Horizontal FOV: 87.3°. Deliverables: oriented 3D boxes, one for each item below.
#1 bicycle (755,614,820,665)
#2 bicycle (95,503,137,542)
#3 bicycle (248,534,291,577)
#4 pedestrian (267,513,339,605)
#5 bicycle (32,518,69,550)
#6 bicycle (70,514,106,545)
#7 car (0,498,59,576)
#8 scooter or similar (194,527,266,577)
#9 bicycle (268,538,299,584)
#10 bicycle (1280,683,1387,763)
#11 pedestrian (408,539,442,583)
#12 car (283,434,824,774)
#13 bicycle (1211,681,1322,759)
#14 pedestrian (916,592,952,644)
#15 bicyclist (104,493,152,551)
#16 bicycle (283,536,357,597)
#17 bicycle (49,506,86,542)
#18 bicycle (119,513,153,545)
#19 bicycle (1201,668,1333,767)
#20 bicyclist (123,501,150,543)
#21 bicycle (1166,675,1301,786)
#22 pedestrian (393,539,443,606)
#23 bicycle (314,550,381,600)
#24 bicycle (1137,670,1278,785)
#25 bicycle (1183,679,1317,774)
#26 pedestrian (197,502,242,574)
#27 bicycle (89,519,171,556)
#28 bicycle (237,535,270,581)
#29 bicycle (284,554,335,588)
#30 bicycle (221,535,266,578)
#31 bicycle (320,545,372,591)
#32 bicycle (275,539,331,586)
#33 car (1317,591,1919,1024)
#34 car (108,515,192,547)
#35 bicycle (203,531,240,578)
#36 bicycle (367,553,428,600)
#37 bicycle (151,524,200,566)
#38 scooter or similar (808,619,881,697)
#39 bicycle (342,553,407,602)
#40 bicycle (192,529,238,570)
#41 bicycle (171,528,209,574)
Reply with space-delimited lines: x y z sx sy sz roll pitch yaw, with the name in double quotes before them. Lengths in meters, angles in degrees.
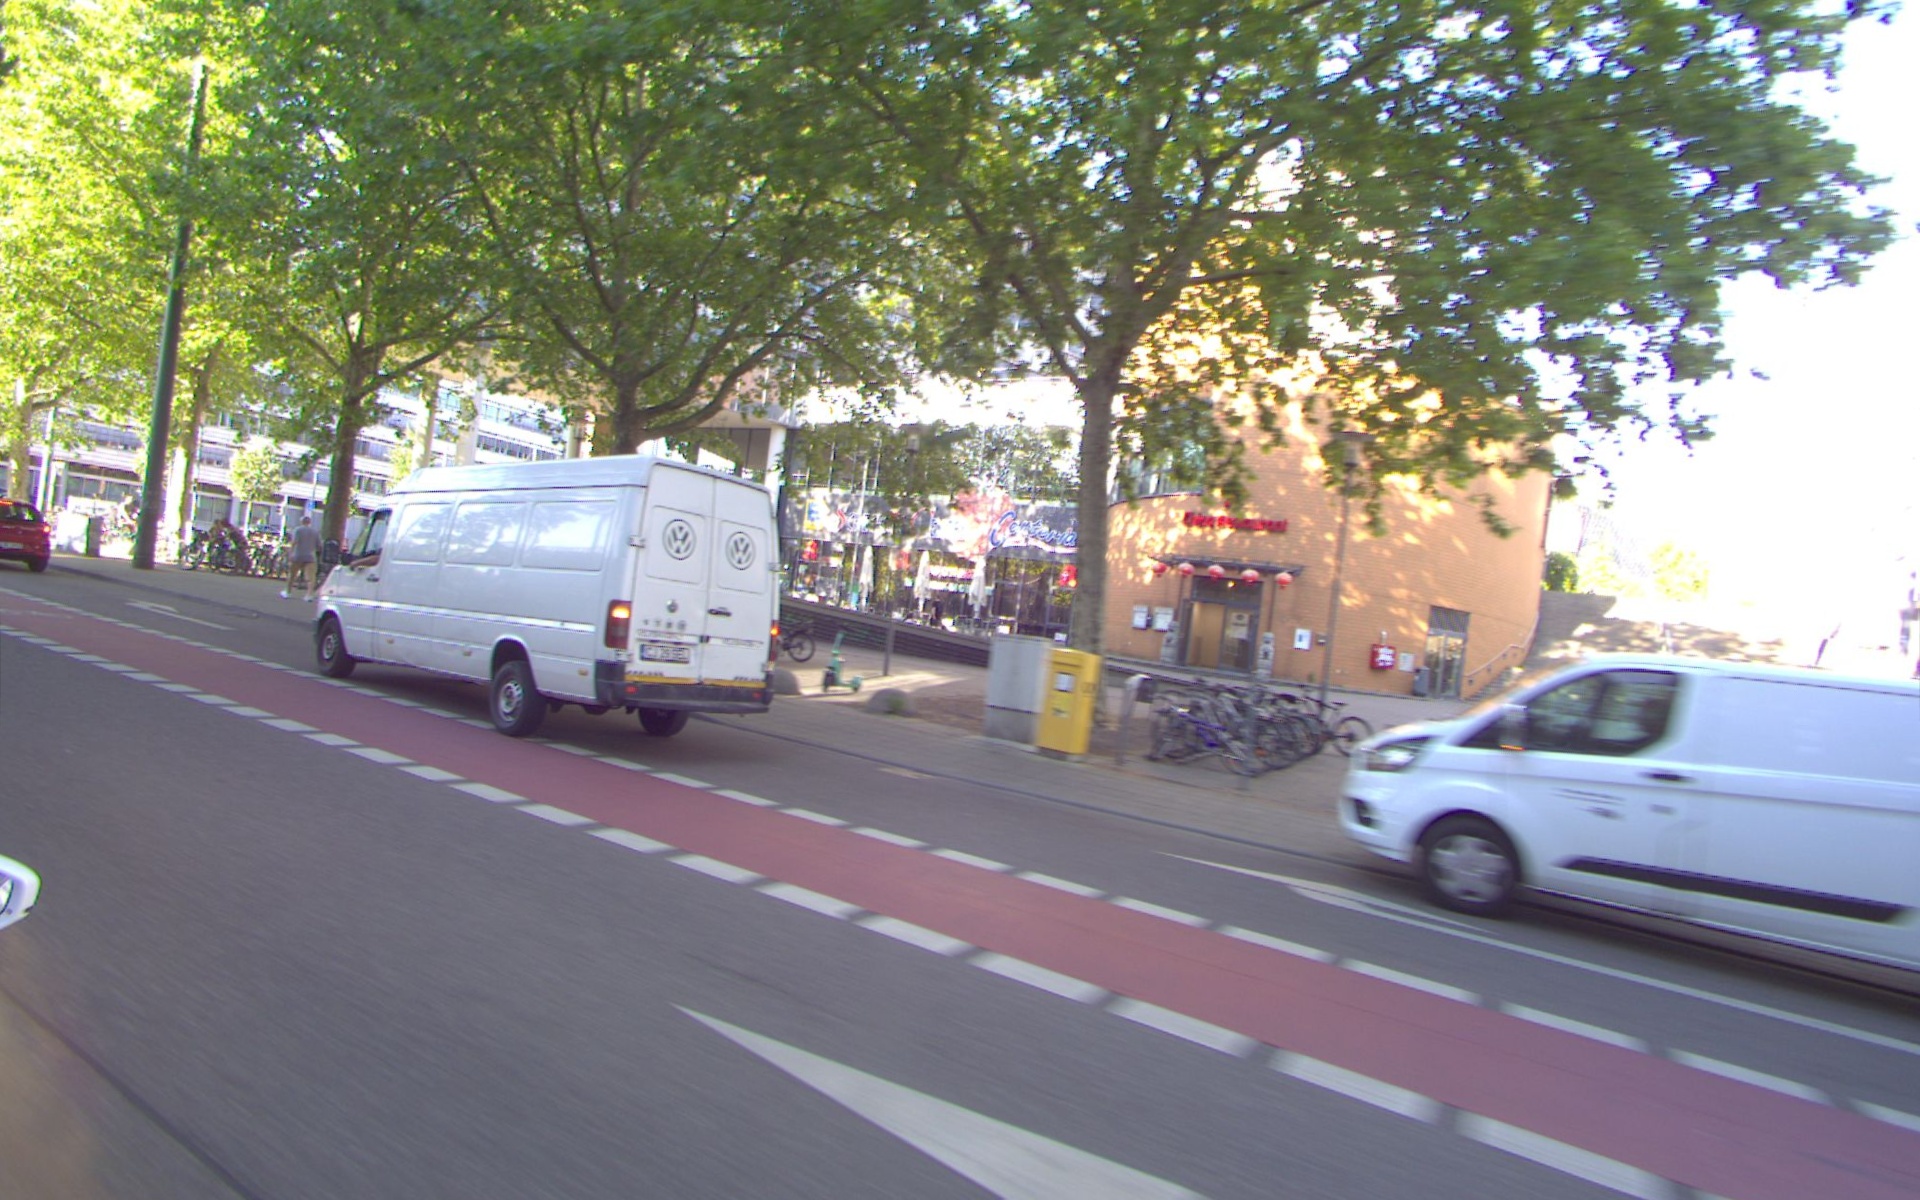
"bicycle" -3.835 0.876 22.337 1.257 0.957 0.416 7 0 13
"bicycle" -32.075 -2.963 38.238 1.854 1.302 0.451 7 0 27
"bicycle" -21.784 -1.405 31.722 1.451 1.174 0.421 7 0 29
"pedestrian" -14.032 -0.863 21.500 0.795 1.808 0.873 7 0 30
"bicycle" -32.913 -2.396 36.396 1.451 0.991 0.421 7 0 27
"bicycle" -32.601 -2.650 37.612 1.451 0.995 0.451 7 0 27
"car" -21.093 -1.507 21.457 3.559 1.481 1.563 7 -1 28
"scooter or similar" -20.752 -1.349 28.631 0.899 1.154 1.260 5 -4 15
"bicycle" -18.647 -1.088 27.745 0.602 1.130 1.809 6 0 -33
"bicycle" 6.188 2.022 16.696 1.488 1.090 0.458 7 0 40
"pedestrian" -24.156 -1.748 45.404 0.851 1.841 0.849 7 -1 1
"car" -4.656 -0.146 10.809 6.460 2.755 1.995 6 -2 36
"bicycle" 4.766 1.849 15.663 1.485 0.970 0.459 7 0 30
"pedestrian" -1.004 0.704 38.848 0.985 1.866 0.849 7 0 -17
"bicyclist" -28.185 -2.635 34.085 0.836 1.789 0.752 7 1 0
"bicycle" -15.615 -0.816 24.547 1.844 1.280 0.596 7 0 28
"bicycle" -32.778 -2.799 36.950 1.451 1.158 0.451 7 0 27
"bicycle" -34.348 -2.969 41.932 1.750 1.140 0.566 7 0 35
"bicycle" 4.551 1.722 14.971 1.690 1.193 0.459 7 0 30
"bicyclist" -34.313 -3.268 41.924 0.808 1.636 0.562 7 1 35
"bicycle" 3.568 1.678 13.164 1.513 1.172 0.513 7 0 30
"pedestrian" -15.469 -0.783 28.718 0.758 1.779 0.818 7 0 34
"bicycle" -15.309 -0.632 25.133 1.626 1.044 0.596 7 0 28
"bicycle" 3.094 1.567 12.622 1.513 1.172 0.513 7 0 30
"bicycle" 3.983 1.719 13.871 1.600 1.042 0.459 7 0 30
"pedestrian" -19.897 -1.654 27.040 0.801 1.808 0.651 6 1 -35
"bicycle" -28.098 -2.115 34.077 2.144 0.945 0.668 7 0 0
"bicycle" -19.196 -1.158 27.363 0.591 1.130 1.809 6 0 -33
"bicycle" -17.699 -0.782 27.379 1.102 0.770 0.396 7 0 -34
"bicycle" -22.103 -1.347 31.047 1.451 1.174 0.421 7 0 27
"bicycle" -18.173 -0.944 29.765 1.449 1.174 0.422 7 0 20
"bicycle" -18.781 -1.075 28.757 1.449 1.174 0.479 7 0 20
"car" 5.526 1.338 6.973 5.205 2.160 2.125 7 0 34
"car" -57.480 -4.883 71.442 1.767 1.579 4.244 7 -1 34
"bicycle" -19.798 -1.238 26.991 0.591 1.130 1.932 6 0 -33
"bicycle" -14.722 -0.627 26.311 1.626 1.044 0.503 7 0 28
"bicycle" -22.914 -1.610 29.377 1.547 1.070 0.628 7 0 35
"scooter or similar" -1.933 0.990 16.962 0.405 1.239 1.209 7 0 34
"bicycle" -14.981 -0.584 25.745 1.626 1.044 0.596 7 0 28
"bicycle" -22.431 -1.527 30.284 1.451 1.095 0.421 7 0 27
"bicycle" -20.595 -1.332 26.927 0.591 1.130 1.809 6 0 -33
